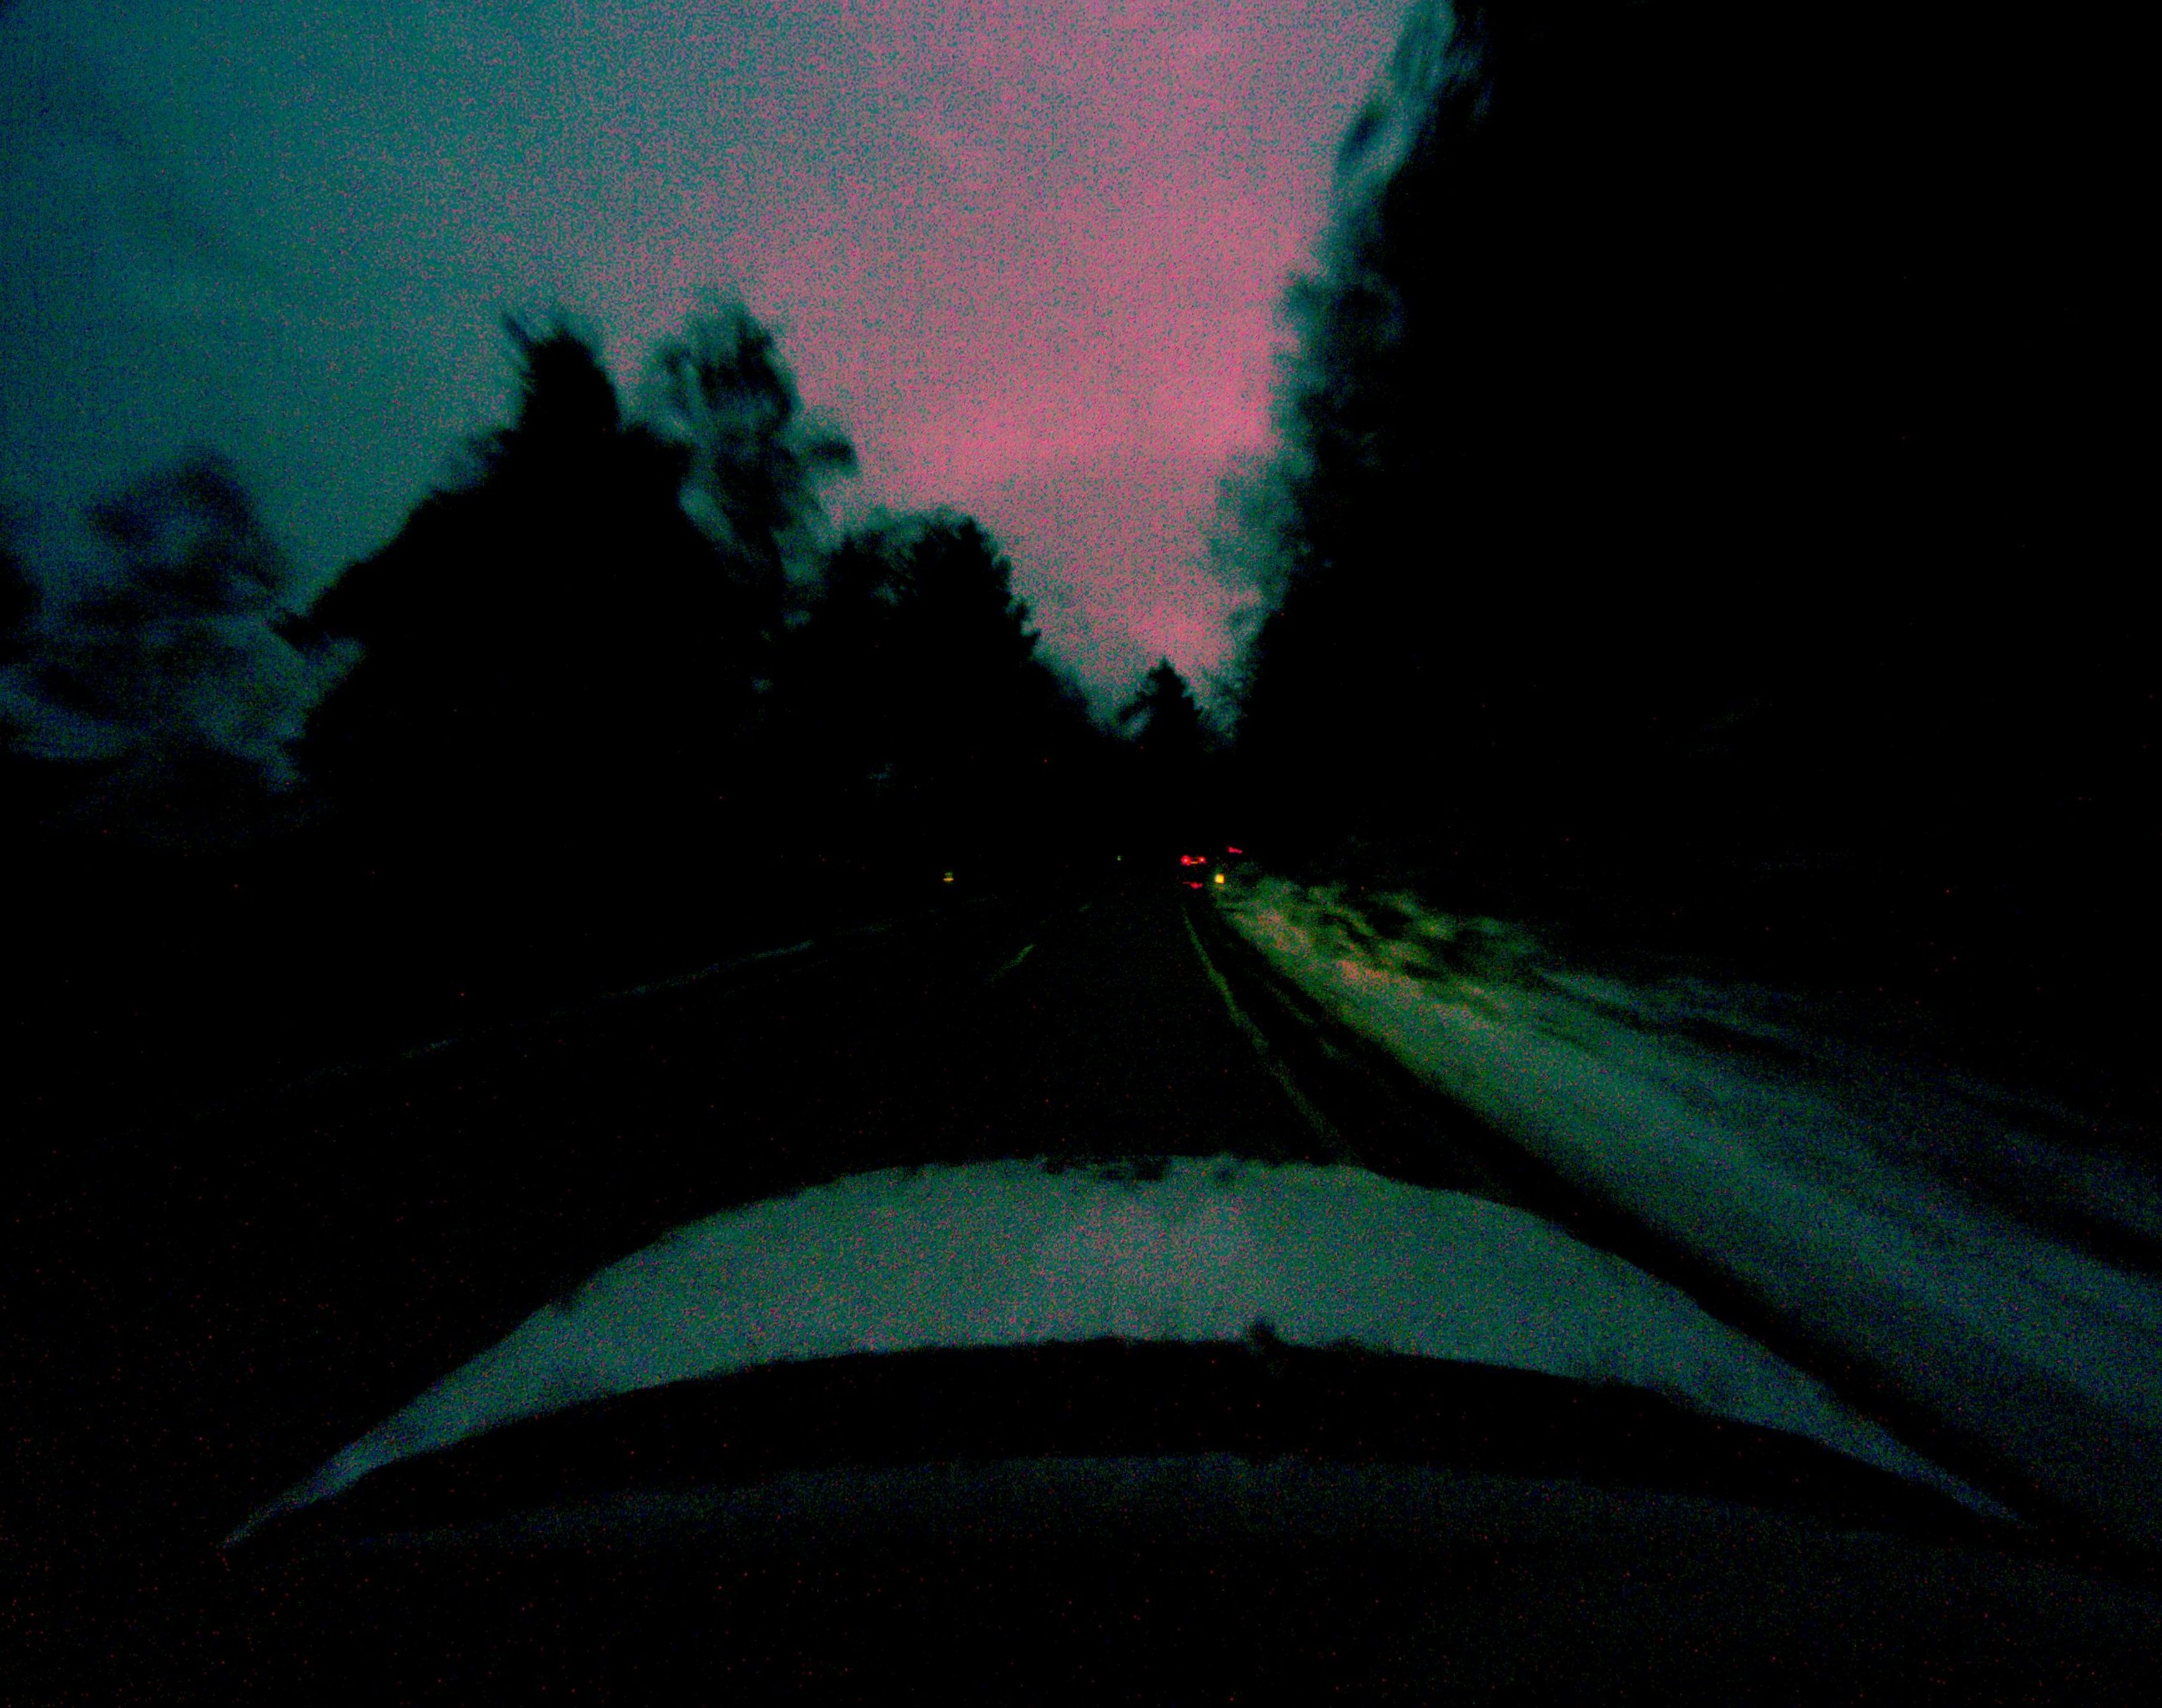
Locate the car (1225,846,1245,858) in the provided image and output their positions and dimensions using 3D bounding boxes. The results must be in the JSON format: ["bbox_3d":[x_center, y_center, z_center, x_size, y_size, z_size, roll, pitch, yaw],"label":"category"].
[{"bbox_3d":[18.420,-0.276,97.690,1.983,1.310,4.008,-4,0,7],"label":"car"}]

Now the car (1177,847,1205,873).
[{"bbox_3d":[8.648,0.425,64.229,1.983,1.872,4.008,-4,0,7],"label":"car"}]
